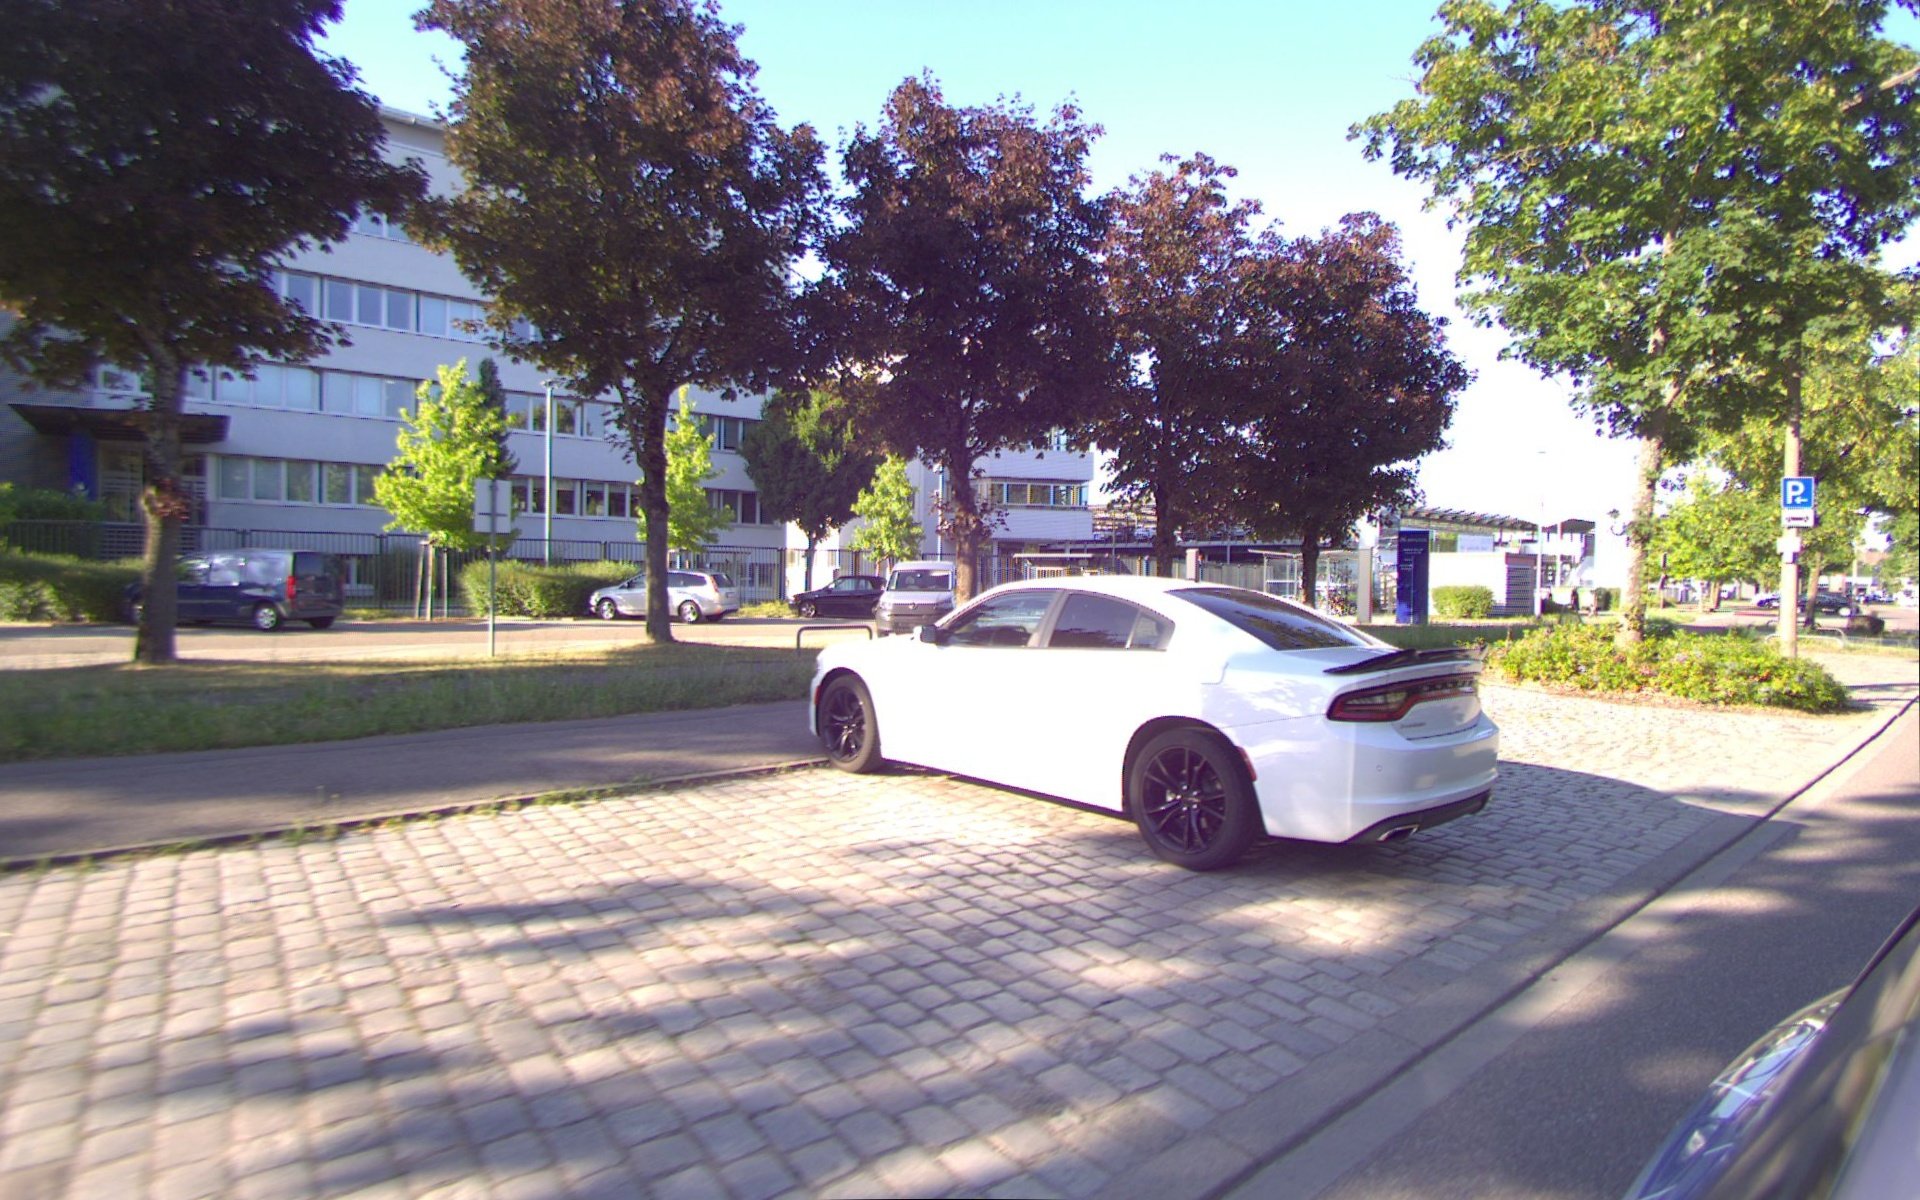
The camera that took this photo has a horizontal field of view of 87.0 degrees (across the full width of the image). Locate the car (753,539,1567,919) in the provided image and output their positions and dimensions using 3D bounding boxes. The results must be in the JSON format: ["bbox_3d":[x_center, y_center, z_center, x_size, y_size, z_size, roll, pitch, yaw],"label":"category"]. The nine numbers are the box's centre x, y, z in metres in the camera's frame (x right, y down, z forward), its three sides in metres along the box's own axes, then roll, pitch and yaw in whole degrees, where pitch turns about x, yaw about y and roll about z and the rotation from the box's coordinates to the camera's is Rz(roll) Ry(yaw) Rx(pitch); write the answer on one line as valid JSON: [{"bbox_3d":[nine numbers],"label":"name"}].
[{"bbox_3d":[0.883,0.456,6.881,2.121,1.593,5.182,0,2,-43],"label":"car"}]

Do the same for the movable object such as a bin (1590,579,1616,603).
[{"bbox_3d":[38.295,-0.517,60.257,1.016,1.434,0.850,1,-1,-19],"label":"movable object such as a bin"}]

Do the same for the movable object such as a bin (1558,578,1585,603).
[{"bbox_3d":[37.248,-0.562,61.658,1.021,1.502,1.211,0,1,-45],"label":"movable object such as a bin"}]

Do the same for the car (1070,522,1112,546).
[{"bbox_3d":[13.346,-6.657,102.841,4.127,2.128,1.997,0,-1,-40],"label":"car"}]

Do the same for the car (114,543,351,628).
[{"bbox_3d":[-16.568,-0.341,23.134,4.420,1.771,1.764,1,1,8],"label":"car"}]

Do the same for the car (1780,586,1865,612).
[{"bbox_3d":[63.863,-0.085,74.976,4.694,1.773,2.158,2,2,43],"label":"car"}]

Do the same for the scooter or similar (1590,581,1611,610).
[{"bbox_3d":[28.893,-0.206,45.651,0.520,1.288,1.366,2,1,43],"label":"scooter or similar"}]

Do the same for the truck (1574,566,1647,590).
[{"bbox_3d":[104.102,-3.541,162.171,3.226,3.689,10.144,1,2,-17],"label":"truck"}]

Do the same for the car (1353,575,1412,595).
[{"bbox_3d":[31.697,-1.131,75.930,4.475,1.450,2.038,0,2,-36],"label":"car"}]

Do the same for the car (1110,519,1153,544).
[{"bbox_3d":[16.761,-6.714,98.966,4.127,2.128,1.997,0,-1,-40],"label":"car"}]

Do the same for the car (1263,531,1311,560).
[{"bbox_3d":[27.624,-4.582,85.341,4.127,2.128,1.997,0,-1,-40],"label":"car"}]

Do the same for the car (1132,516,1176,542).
[{"bbox_3d":[18.533,-6.746,96.745,4.127,2.128,1.997,0,-1,-40],"label":"car"}]

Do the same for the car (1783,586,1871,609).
[{"bbox_3d":[60.289,-0.206,70.482,4.473,1.421,2.006,2,2,38],"label":"car"}]

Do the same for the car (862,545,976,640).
[{"bbox_3d":[-0.817,-0.171,23.587,1.965,1.958,4.946,1,0,6],"label":"car"}]

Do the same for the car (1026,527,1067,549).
[{"bbox_3d":[9.244,-6.582,107.964,4.127,2.128,1.997,0,-1,-40],"label":"car"}]

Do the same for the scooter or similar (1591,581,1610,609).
[{"bbox_3d":[29.683,-0.230,46.874,0.520,1.288,1.182,2,1,43],"label":"scooter or similar"}]

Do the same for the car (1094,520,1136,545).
[{"bbox_3d":[15.441,-6.688,100.822,4.127,2.128,1.997,0,-1,-40],"label":"car"}]

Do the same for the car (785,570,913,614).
[{"bbox_3d":[-3.689,-0.290,33.825,3.934,1.371,1.803,1,1,9],"label":"car"}]

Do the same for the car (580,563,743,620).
[{"bbox_3d":[-8.649,-0.272,29.451,4.247,1.547,1.800,1,1,13],"label":"car"}]
